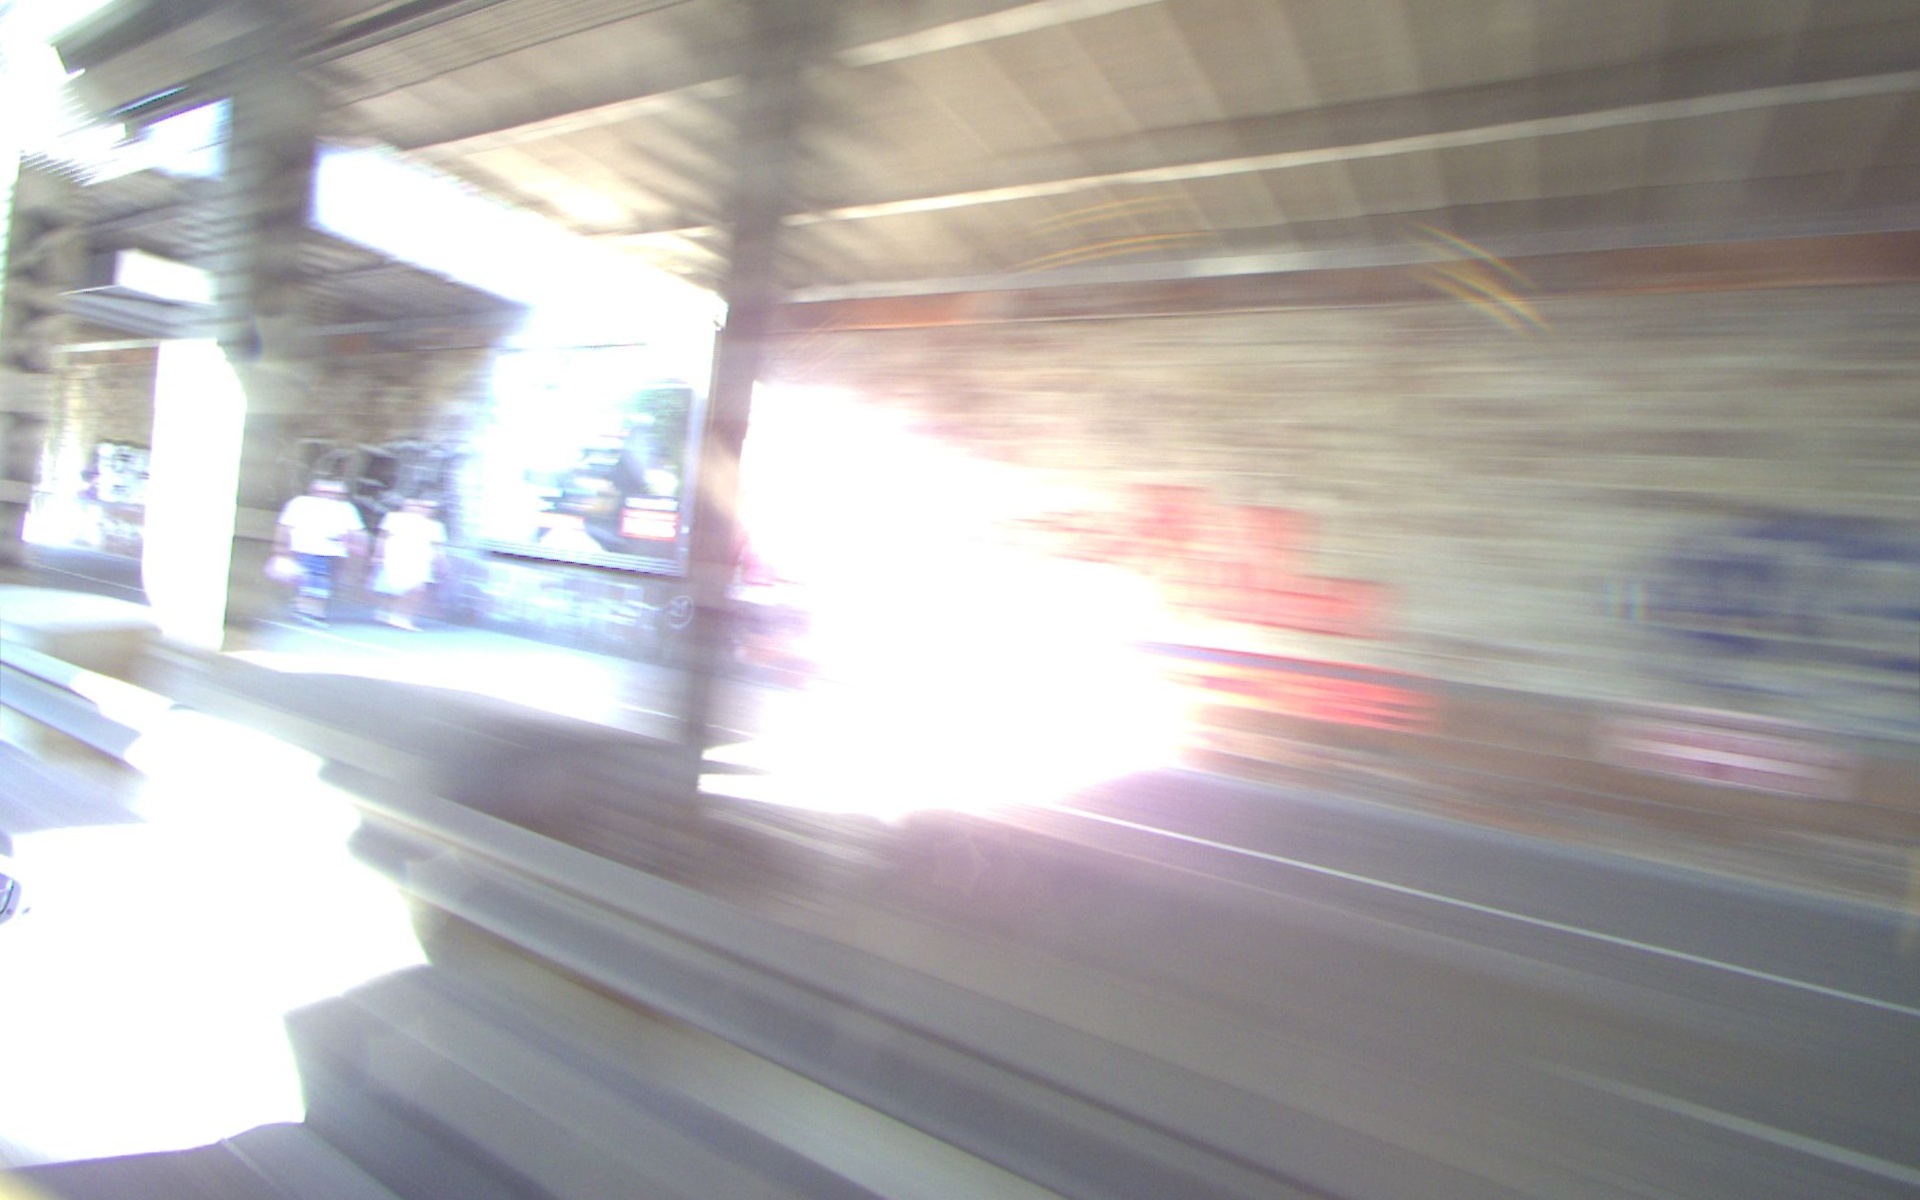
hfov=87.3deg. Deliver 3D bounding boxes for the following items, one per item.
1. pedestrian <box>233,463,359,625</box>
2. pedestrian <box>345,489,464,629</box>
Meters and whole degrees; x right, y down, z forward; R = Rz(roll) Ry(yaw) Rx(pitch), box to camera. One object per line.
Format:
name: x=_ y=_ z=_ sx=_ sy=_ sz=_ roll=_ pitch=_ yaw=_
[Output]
pedestrian: x=-8.158 y=-0.671 z=12.378 sx=0.907 sy=1.860 sz=0.881 roll=7 pitch=3 yaw=28
pedestrian: x=-7.147 y=-0.513 z=12.958 sx=0.871 sy=1.678 sz=0.917 roll=7 pitch=3 yaw=28
